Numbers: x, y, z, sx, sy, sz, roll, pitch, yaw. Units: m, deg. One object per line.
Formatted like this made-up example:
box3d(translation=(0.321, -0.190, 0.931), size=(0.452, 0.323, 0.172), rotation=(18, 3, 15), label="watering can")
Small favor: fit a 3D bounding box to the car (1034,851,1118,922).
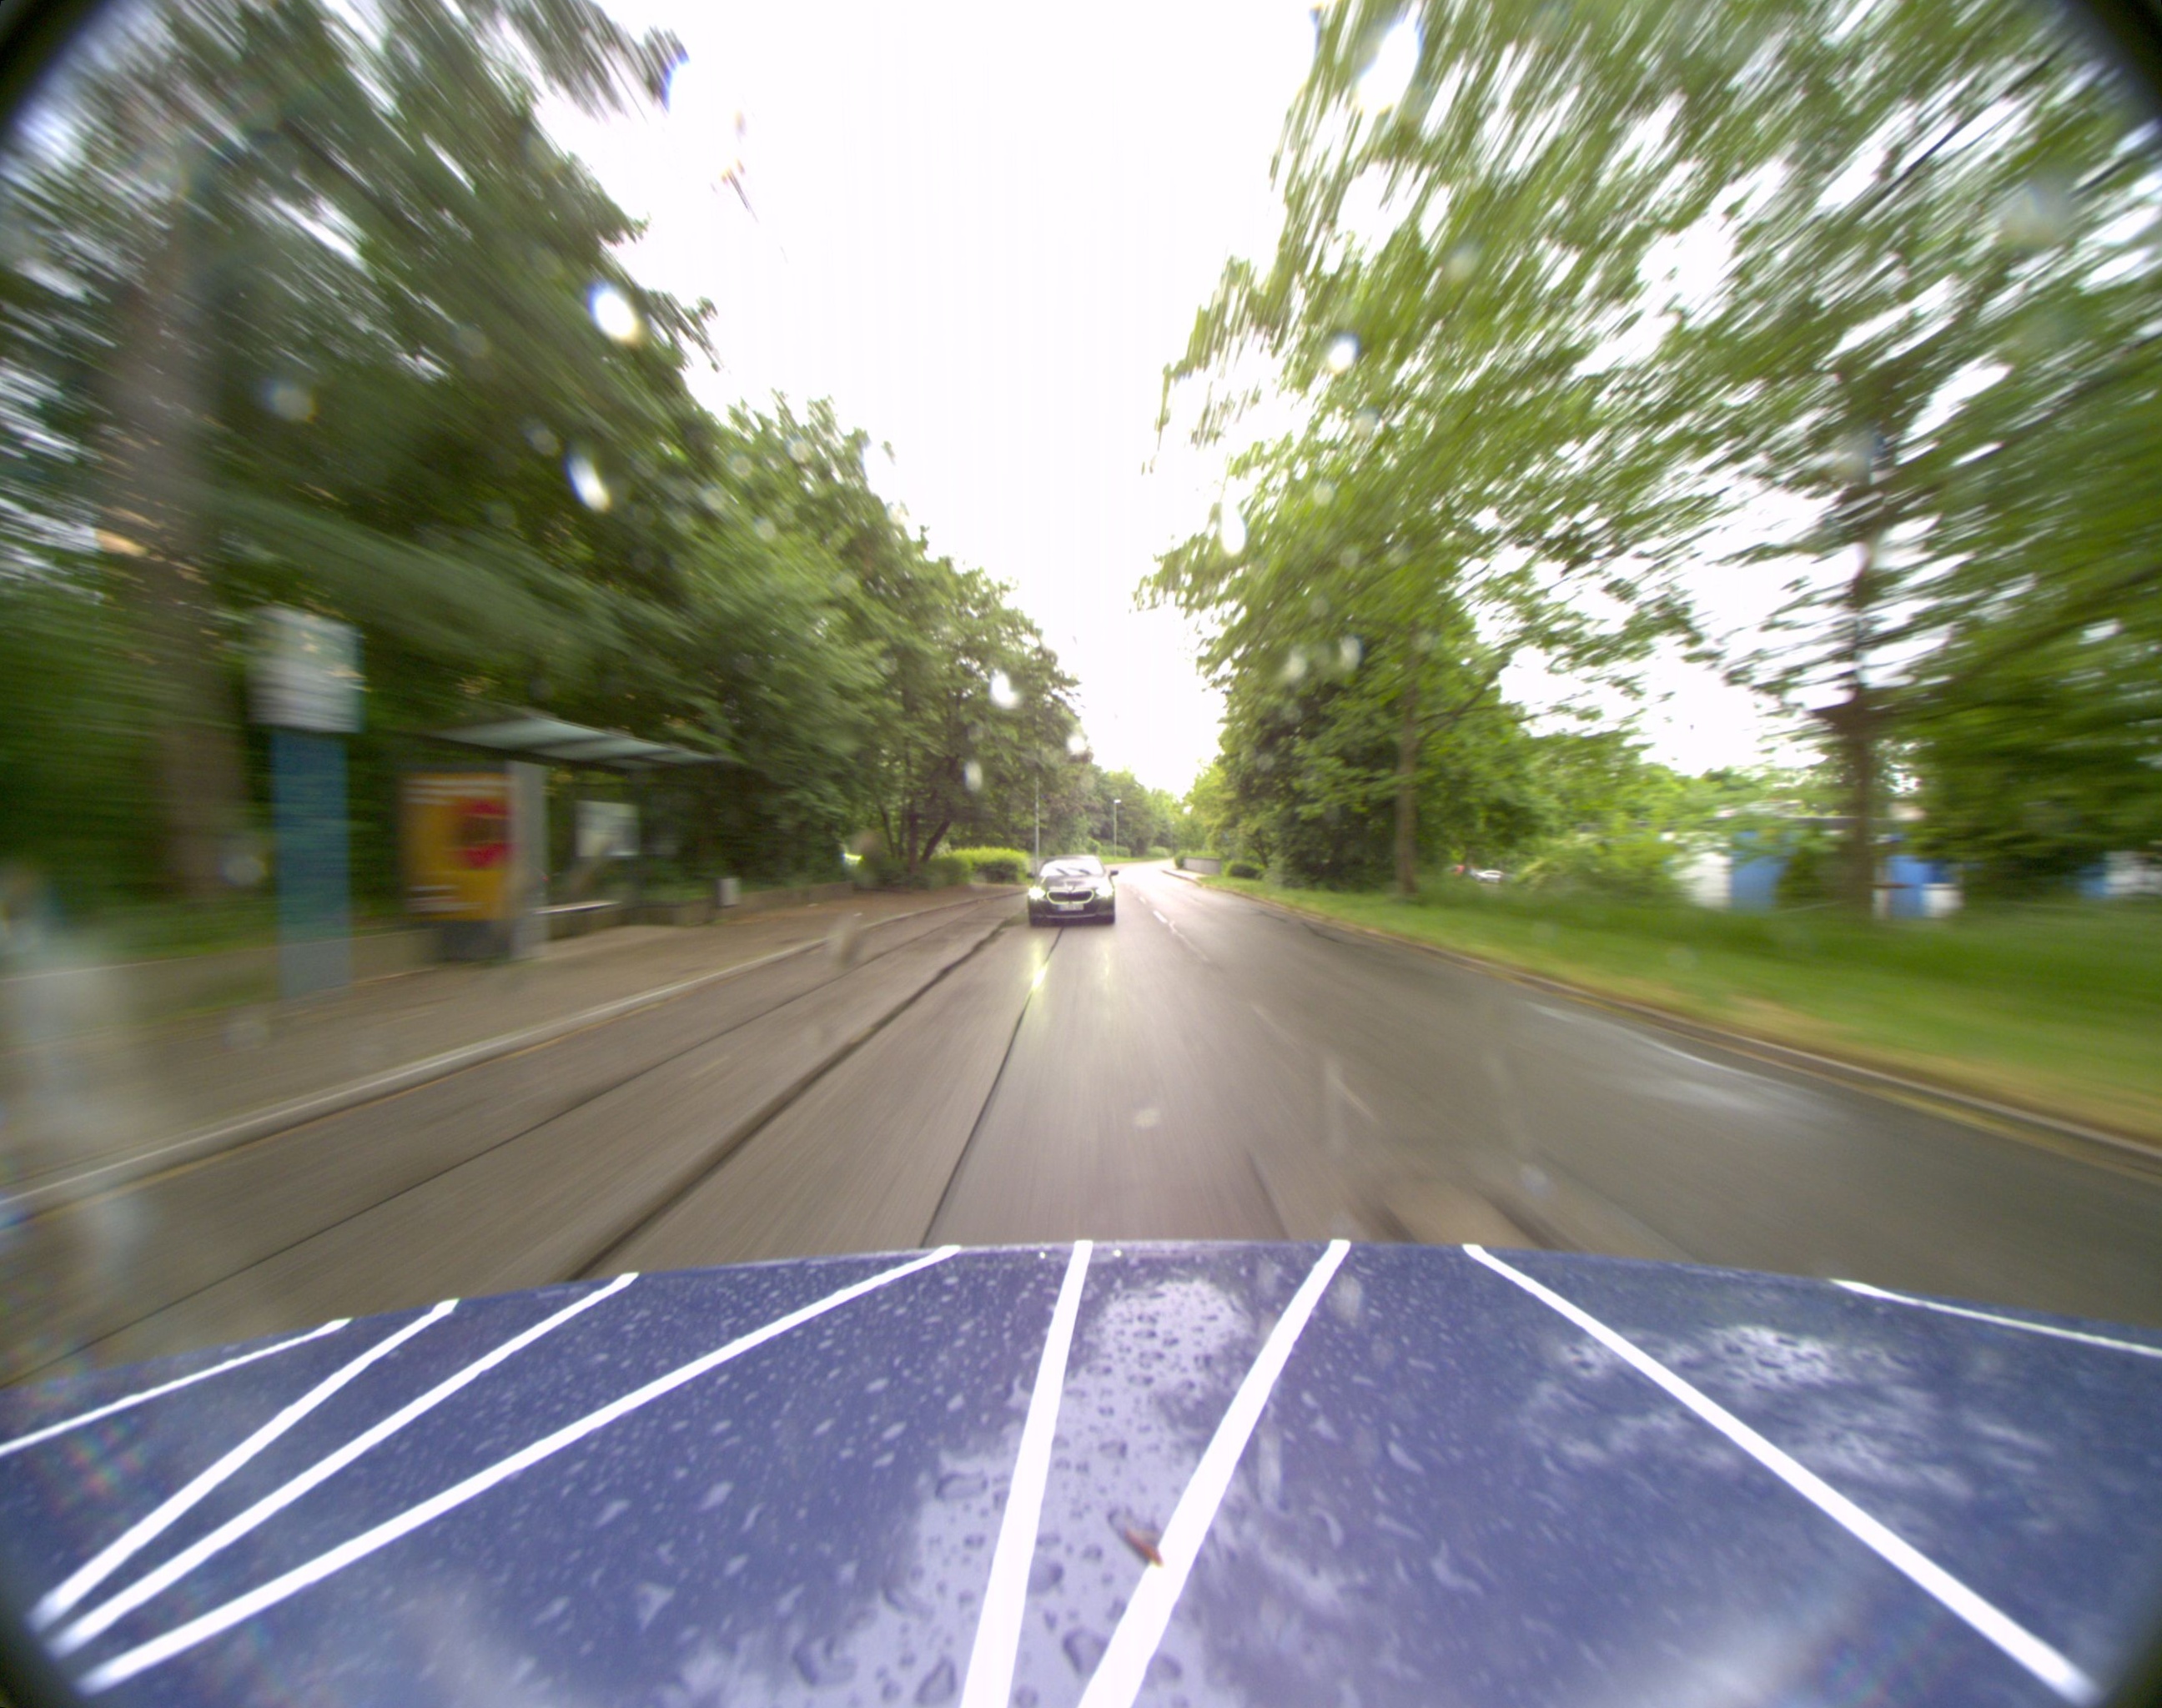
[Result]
box3d(translation=(-0.076, 0.722, 19.258), size=(1.832, 1.499, 4.498), rotation=(-2, 1, 1), label="car")
